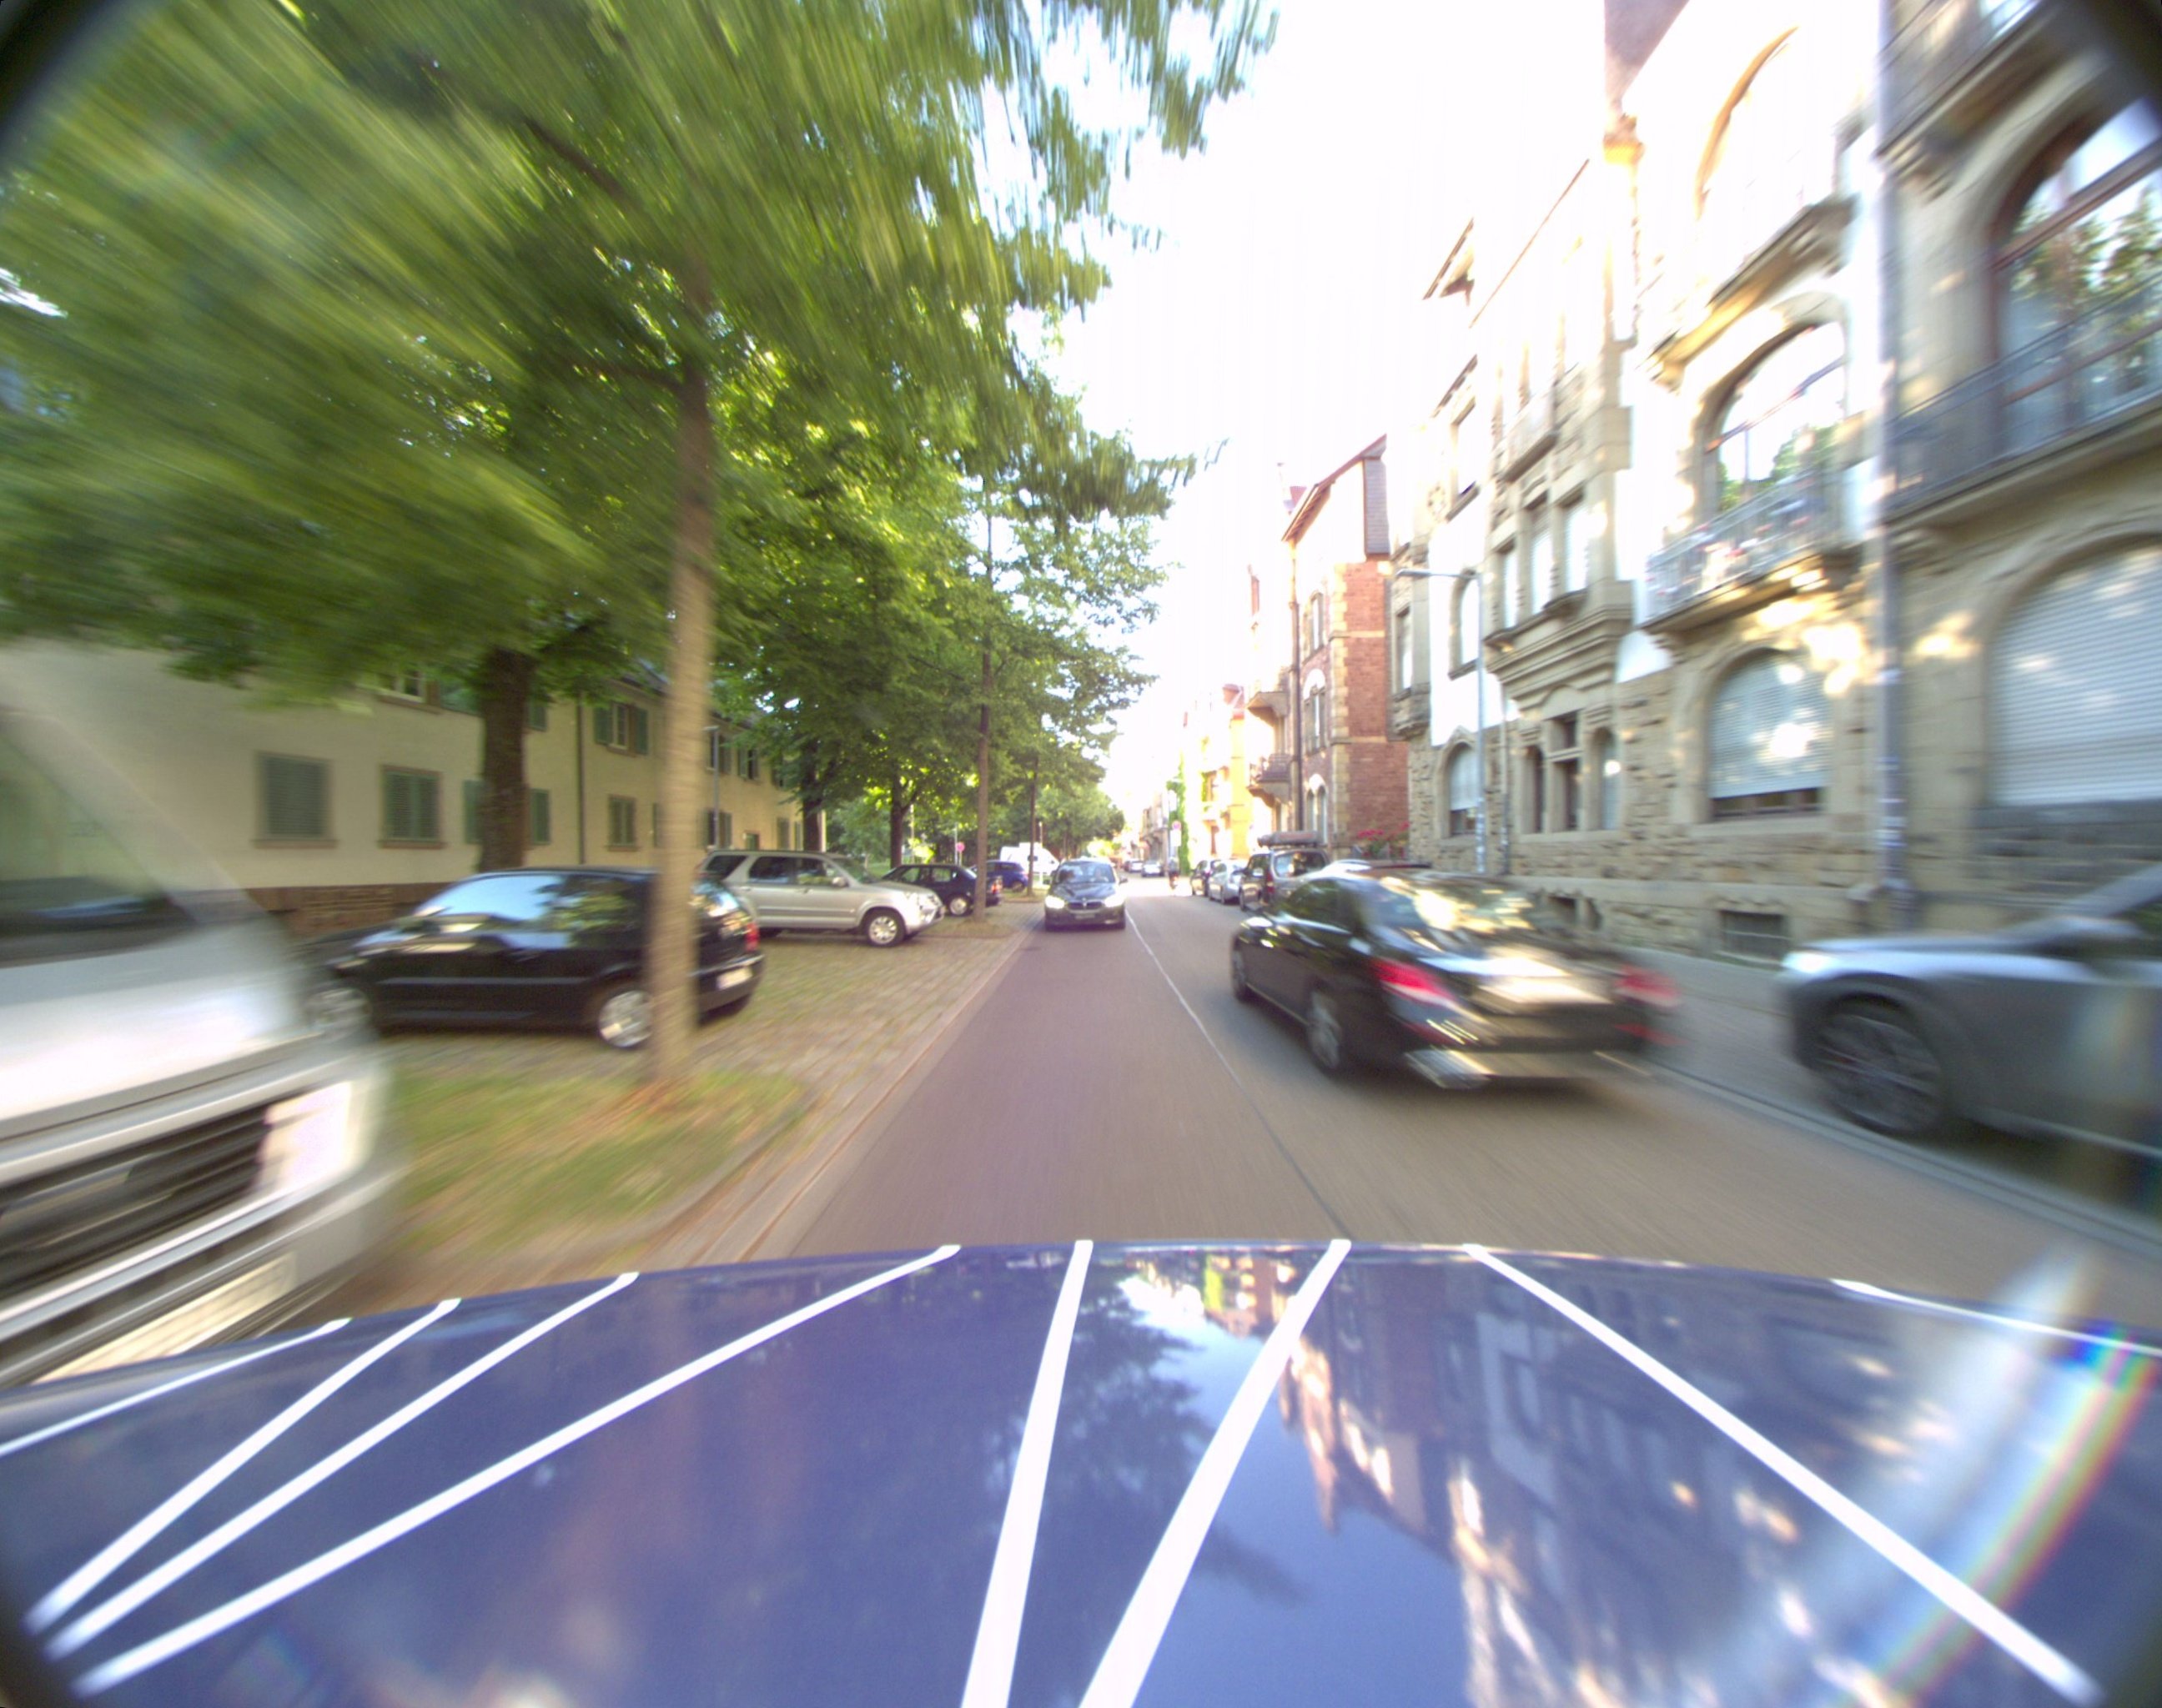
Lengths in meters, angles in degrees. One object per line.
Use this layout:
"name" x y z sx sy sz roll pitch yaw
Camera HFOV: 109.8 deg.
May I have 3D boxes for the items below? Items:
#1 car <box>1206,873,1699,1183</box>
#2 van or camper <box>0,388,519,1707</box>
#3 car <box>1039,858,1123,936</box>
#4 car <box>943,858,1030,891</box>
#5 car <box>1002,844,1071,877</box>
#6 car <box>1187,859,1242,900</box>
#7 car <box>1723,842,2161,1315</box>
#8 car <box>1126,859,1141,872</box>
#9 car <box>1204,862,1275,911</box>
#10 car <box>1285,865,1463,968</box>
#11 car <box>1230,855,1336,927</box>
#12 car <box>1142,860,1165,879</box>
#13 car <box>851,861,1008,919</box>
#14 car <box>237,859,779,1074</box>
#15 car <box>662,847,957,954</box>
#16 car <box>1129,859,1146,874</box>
"car" 2.408 1.004 6.421 1.868 1.454 4.567 -2 1 -1
"van or camper" -4.803 0.319 1.481 5.733 2.502 2.162 2 0 0
"car" 0.054 0.932 18.419 1.753 1.596 4.551 -2 0 1
"car" -4.479 0.970 36.461 3.998 1.503 1.572 0 0 -3
"car" -3.597 0.489 62.033 5.448 2.646 2.134 0 0 1
"car" 5.547 1.035 31.916 1.633 1.496 3.856 -4 -1 2
"car" 4.887 0.813 2.503 1.881 1.707 4.339 -2 0 1
"car" 6.625 1.433 96.662 1.710 1.496 3.629 -4 -1 2
"car" 5.382 1.073 26.225 1.633 1.439 3.856 -4 -1 2
"car" 5.307 1.048 14.417 1.774 1.493 4.211 -1 1 0
"car" 5.374 0.919 20.765 1.774 1.658 4.212 -2 1 0
"car" 6.307 1.341 66.341 1.686 1.496 3.629 -4 -1 2
"car" -4.124 0.959 21.071 3.997 1.543 1.555 0 0 1
"car" -4.630 0.835 6.551 3.260 1.454 1.825 2 0 2
"car" -4.732 0.792 13.817 4.606 1.706 2.000 1 0 -1
"car" 6.502 1.473 88.212 1.710 1.496 3.629 -4 -1 2
